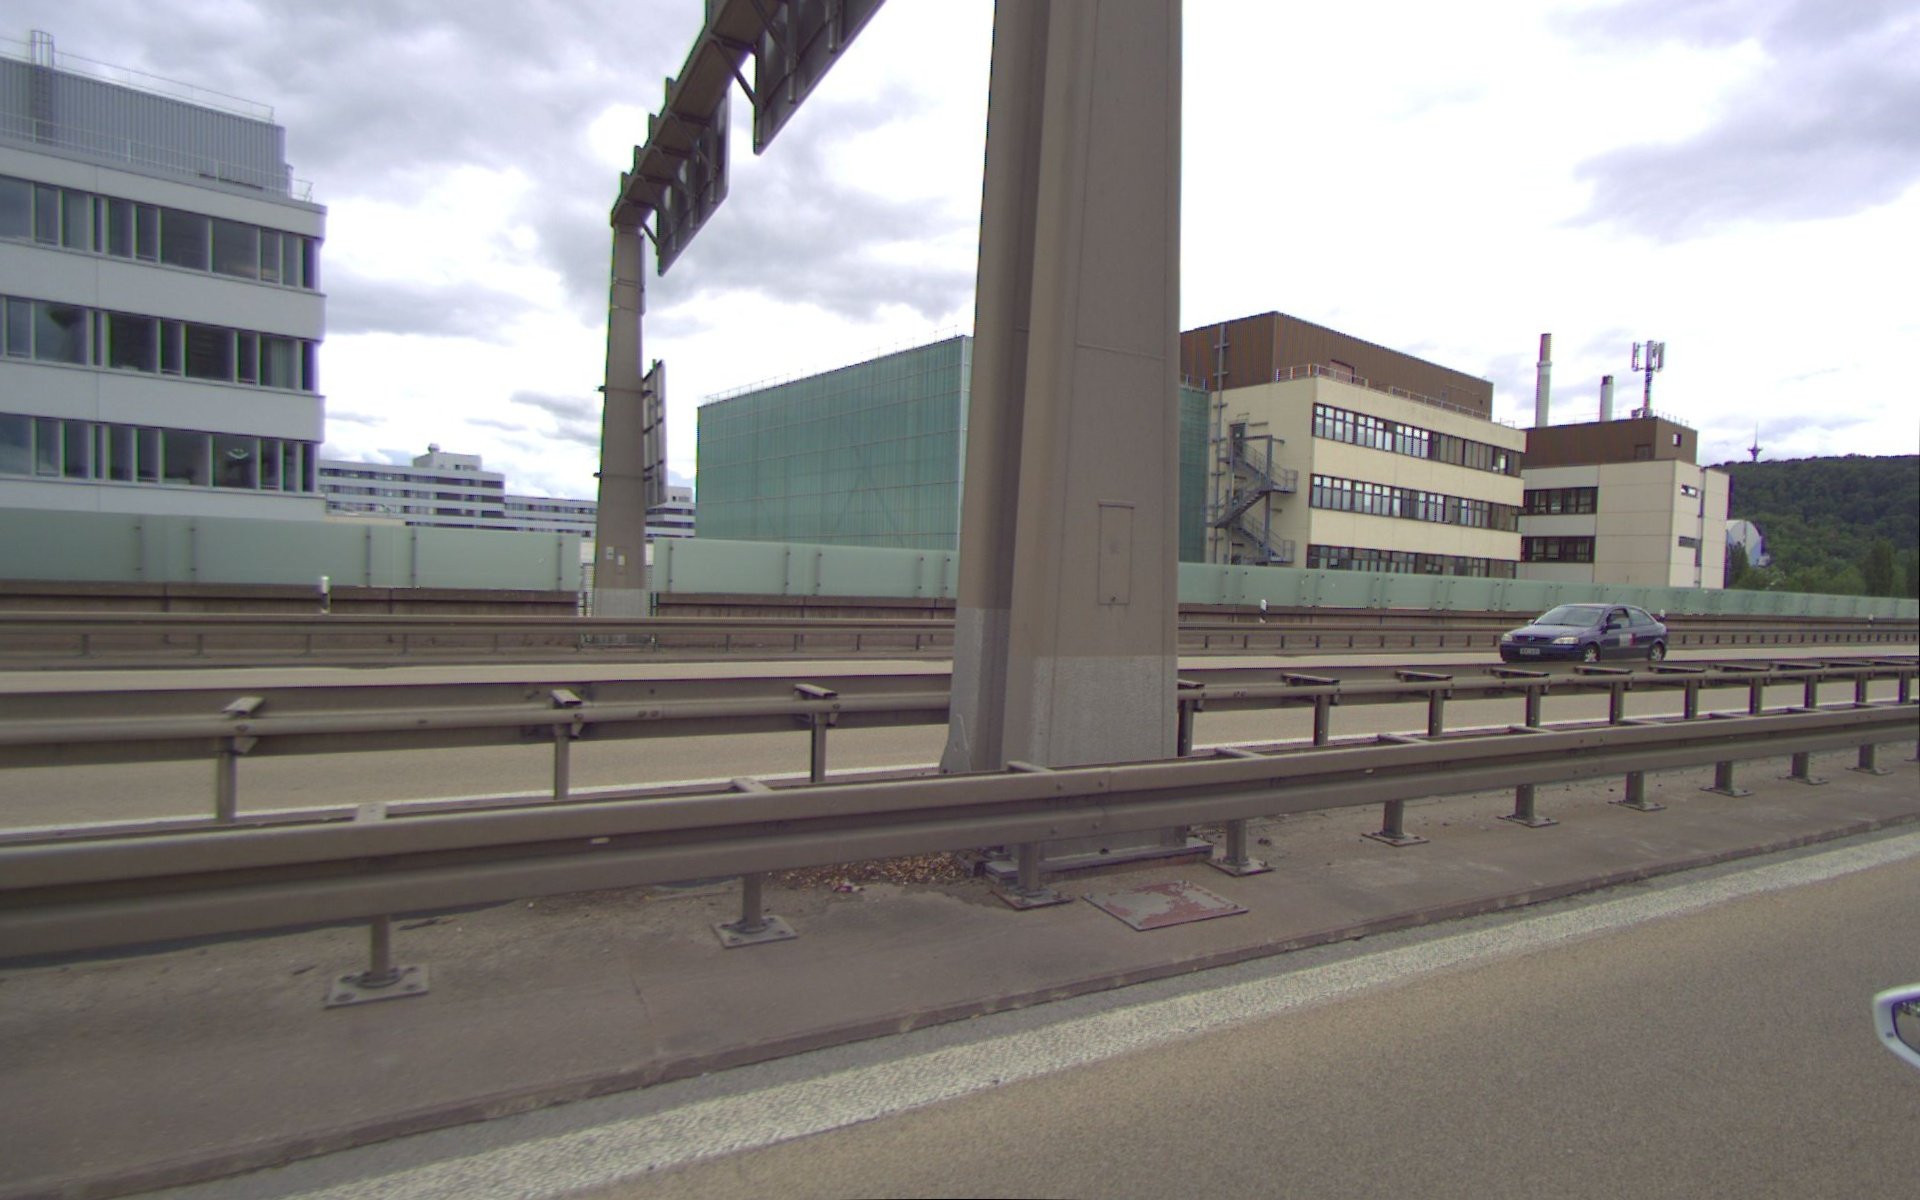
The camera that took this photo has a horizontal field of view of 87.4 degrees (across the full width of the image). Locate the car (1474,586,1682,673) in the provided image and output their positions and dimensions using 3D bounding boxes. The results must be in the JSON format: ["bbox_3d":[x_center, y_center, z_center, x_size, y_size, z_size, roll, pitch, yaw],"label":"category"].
[{"bbox_3d":[13.276,0.623,21.542,4.357,1.697,1.984,2,0,-30],"label":"car"}]
